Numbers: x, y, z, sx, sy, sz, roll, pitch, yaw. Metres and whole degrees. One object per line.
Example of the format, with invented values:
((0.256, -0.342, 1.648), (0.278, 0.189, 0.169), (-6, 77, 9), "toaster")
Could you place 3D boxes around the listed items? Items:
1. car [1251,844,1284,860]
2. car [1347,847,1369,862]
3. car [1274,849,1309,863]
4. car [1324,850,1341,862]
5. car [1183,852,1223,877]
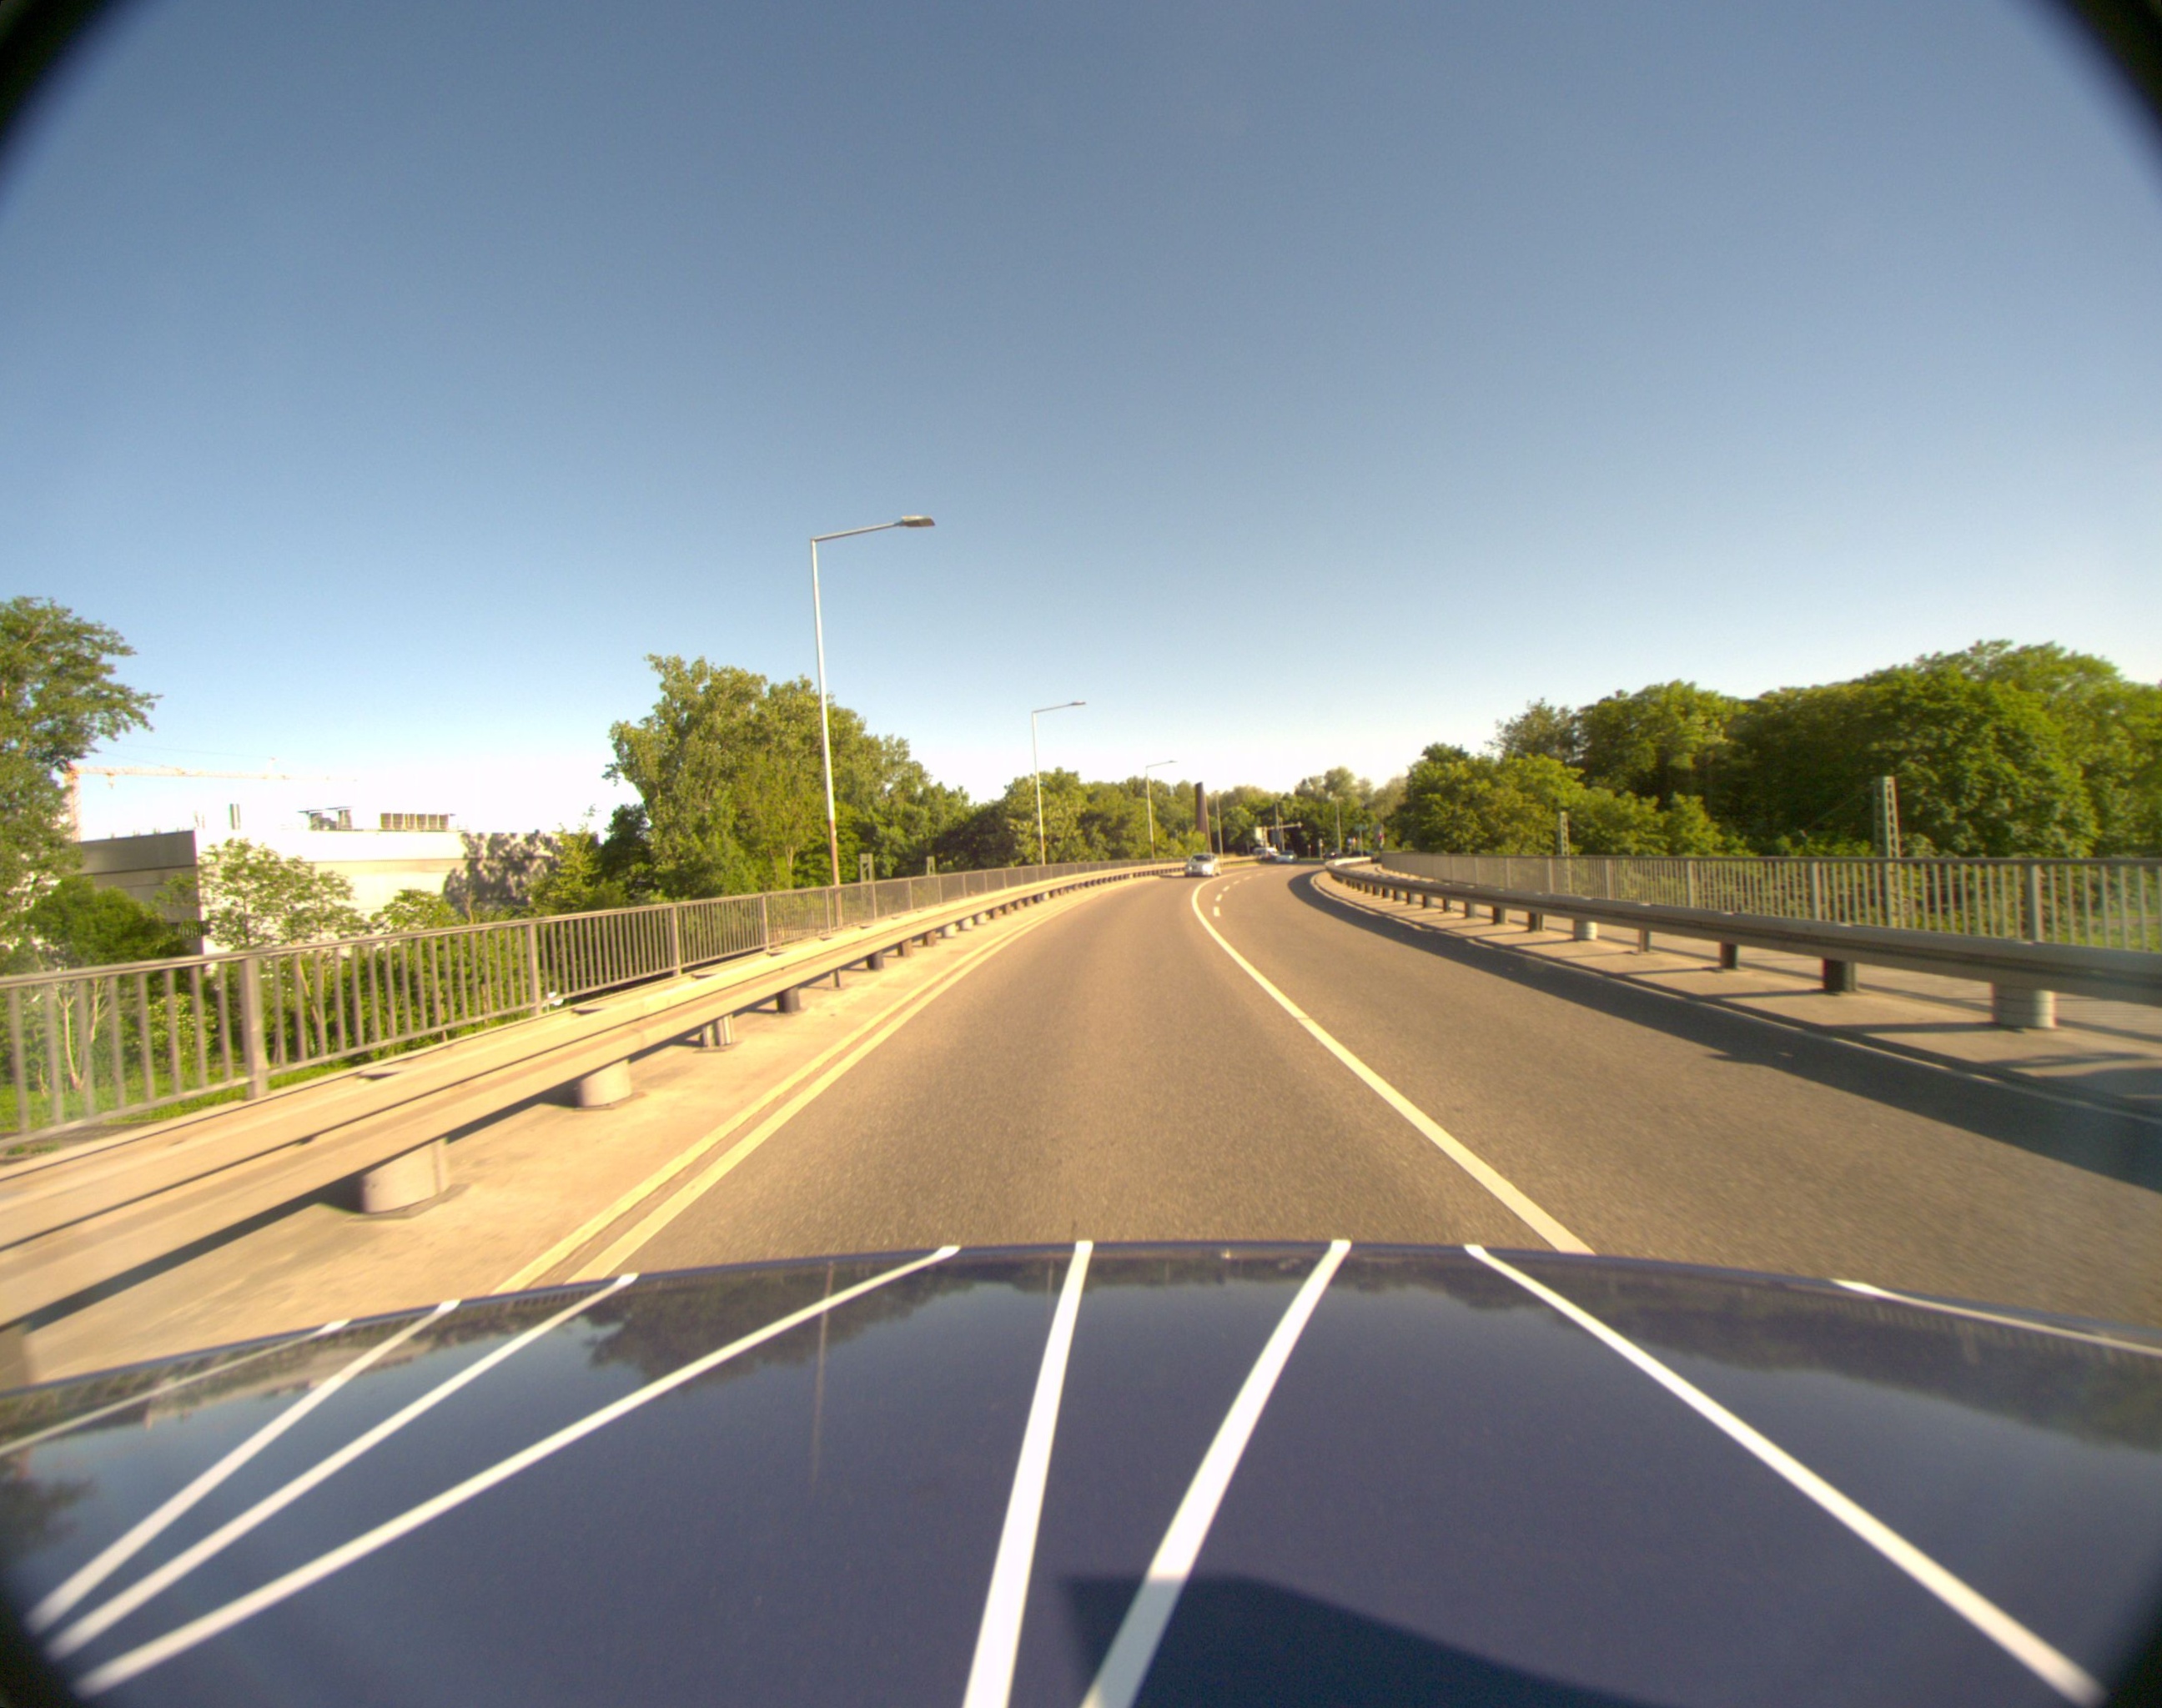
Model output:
((32.568, -0.362, 132.928), (2.118, 2.484, 5.694), (-2, -1, -33), "car")
((29.465, 0.055, 80.740), (1.875, 1.431, 4.328), (-1, 0, 25), "car")
((23.809, 0.274, 85.835), (4.138, 1.465, 1.989), (-2, 0, -45), "car")
((37.986, 0.277, 114.542), (1.918, 1.608, 3.749), (-1, 0, 26), "car")
((7.598, 0.611, 46.939), (1.762, 1.428, 4.335), (-1, 0, 18), "car")
